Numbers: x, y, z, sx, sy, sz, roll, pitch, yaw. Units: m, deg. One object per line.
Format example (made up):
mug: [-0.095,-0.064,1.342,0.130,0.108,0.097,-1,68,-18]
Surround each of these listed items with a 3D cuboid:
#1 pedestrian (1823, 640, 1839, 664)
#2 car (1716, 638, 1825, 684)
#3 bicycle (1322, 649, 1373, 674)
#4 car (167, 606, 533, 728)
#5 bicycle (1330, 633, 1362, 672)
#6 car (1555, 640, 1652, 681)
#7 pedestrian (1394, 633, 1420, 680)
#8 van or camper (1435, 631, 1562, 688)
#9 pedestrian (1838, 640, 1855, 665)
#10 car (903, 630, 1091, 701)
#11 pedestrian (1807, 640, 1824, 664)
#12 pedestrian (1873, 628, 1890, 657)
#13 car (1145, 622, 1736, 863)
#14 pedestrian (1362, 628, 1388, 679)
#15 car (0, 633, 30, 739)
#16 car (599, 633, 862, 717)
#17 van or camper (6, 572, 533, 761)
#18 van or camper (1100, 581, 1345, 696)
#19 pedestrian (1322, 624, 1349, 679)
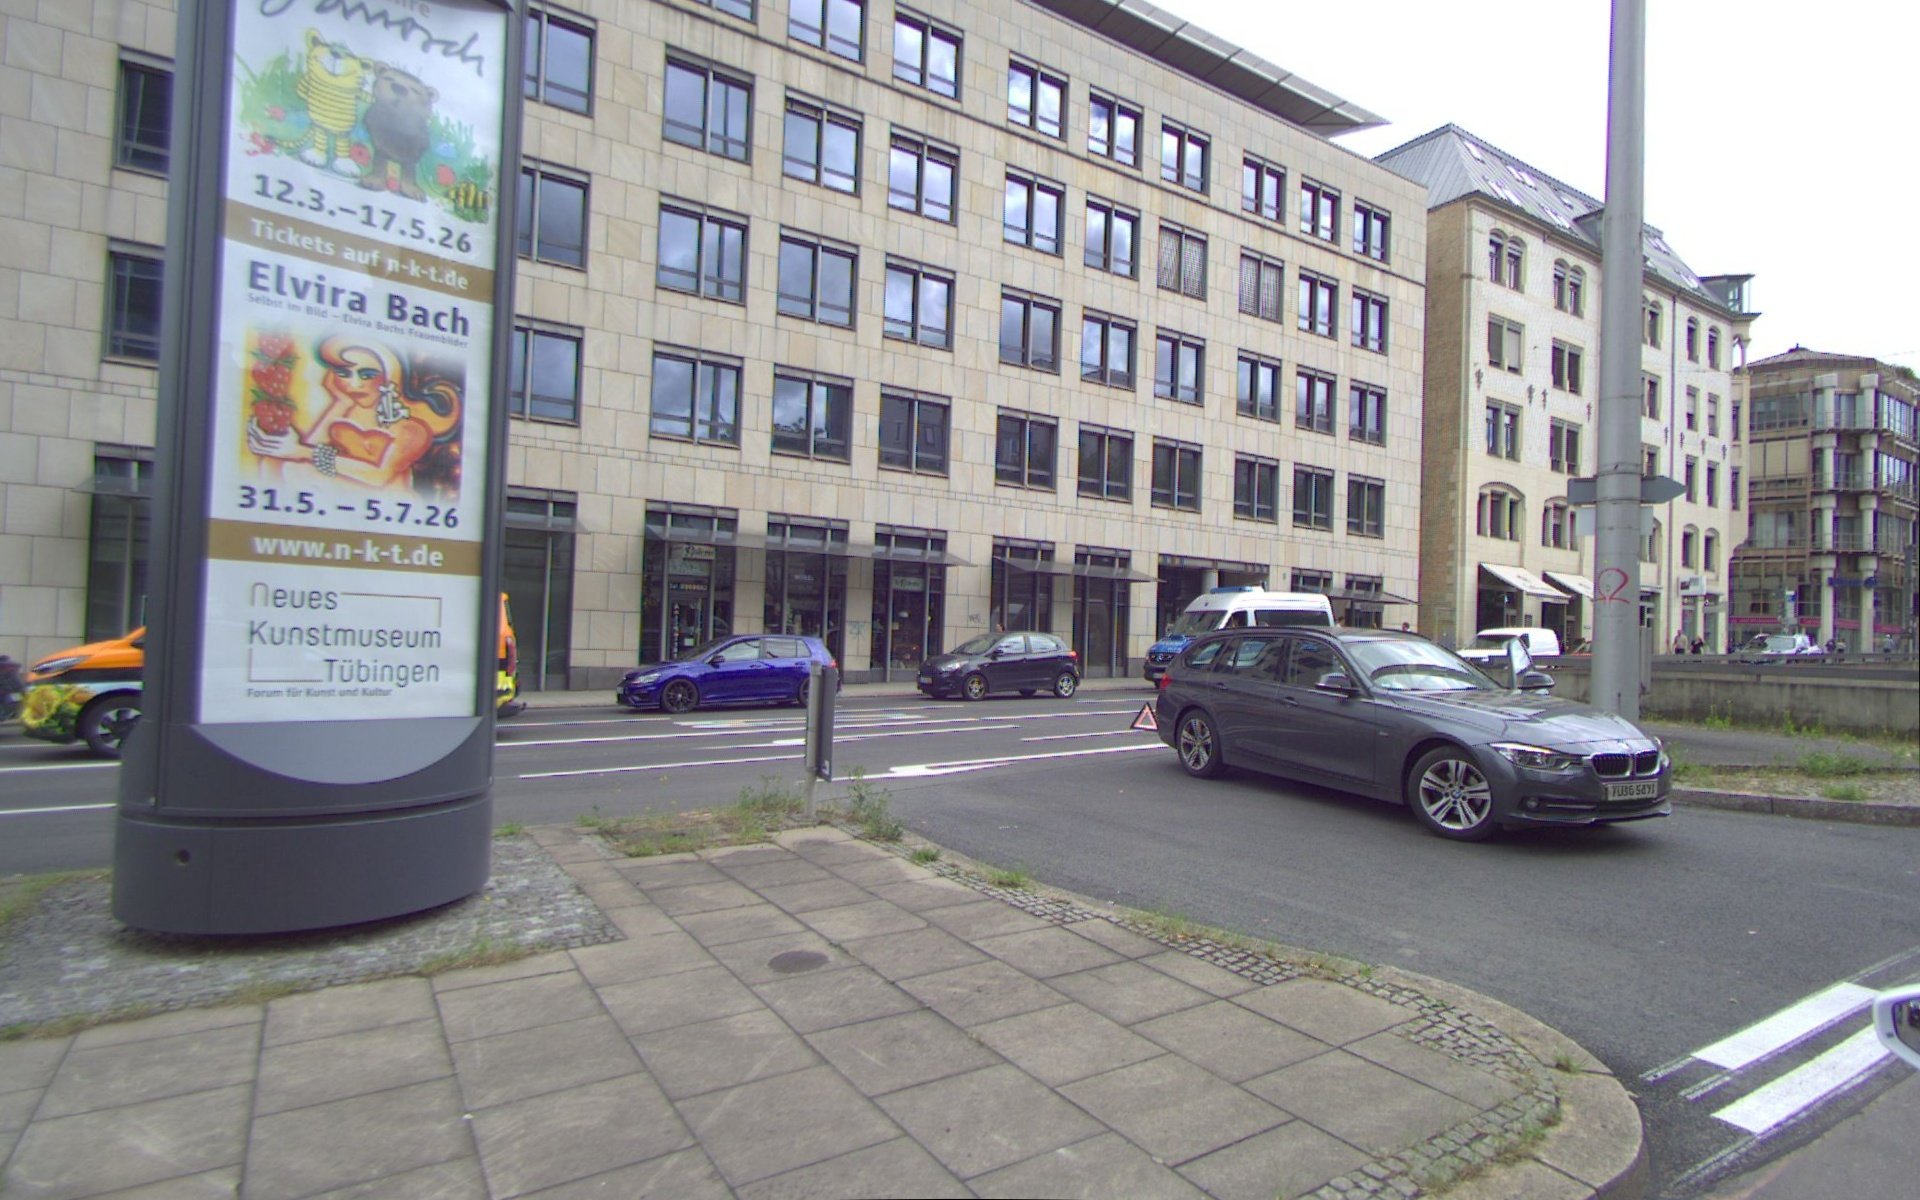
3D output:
pedestrian: [56.213,3.350,64.819,0.840,1.564,0.694,2,-2,-40]
car: [29.641,2.188,36.711,4.495,1.547,1.907,2,-2,-34]
bicycle: [12.789,2.014,33.116,1.939,0.772,0.628,2,-2,-36]
car: [-9.404,1.027,15.859,4.632,1.667,1.983,2,-3,-33]
bicycle: [12.716,1.720,33.071,0.837,1.277,0.628,2,-1,-35]
car: [23.810,2.213,37.169,3.545,1.424,1.777,2,-2,-34]
pedestrian: [15.409,1.928,34.644,0.673,1.597,0.549,2,-1,-33]
van or camper: [18.071,1.961,33.652,4.439,1.775,1.857,2,-1,-34]
pedestrian: [56.695,3.335,64.234,0.840,1.564,0.694,2,-2,-40]
car: [0.863,1.467,22.772,3.986,1.467,1.759,2,-4,-32]
pedestrian: [55.693,3.368,65.391,0.840,1.564,0.694,2,-2,-40]
pedestrian: [60.332,2.802,65.752,0.687,1.817,0.529,2,3,-31]
car: [3.658,0.949,8.689,1.855,1.478,4.540,2,-2,-23]
pedestrian: [14.800,1.902,35.820,0.673,1.776,0.549,2,-1,-33]
car: [-14.028,1.076,12.290,3.591,1.359,1.549,2,-3,-31]
car: [-4.338,1.373,19.199,4.521,1.414,1.983,2,-2,-31]
van or camper: [-8.199,0.799,12.550,5.028,1.946,1.903,2,-3,-33]
van or camper: [7.116,1.036,27.063,6.177,2.762,2.986,2,-2,-32]
pedestrian: [13.155,1.788,35.190,0.673,1.899,0.612,2,-1,-33]
